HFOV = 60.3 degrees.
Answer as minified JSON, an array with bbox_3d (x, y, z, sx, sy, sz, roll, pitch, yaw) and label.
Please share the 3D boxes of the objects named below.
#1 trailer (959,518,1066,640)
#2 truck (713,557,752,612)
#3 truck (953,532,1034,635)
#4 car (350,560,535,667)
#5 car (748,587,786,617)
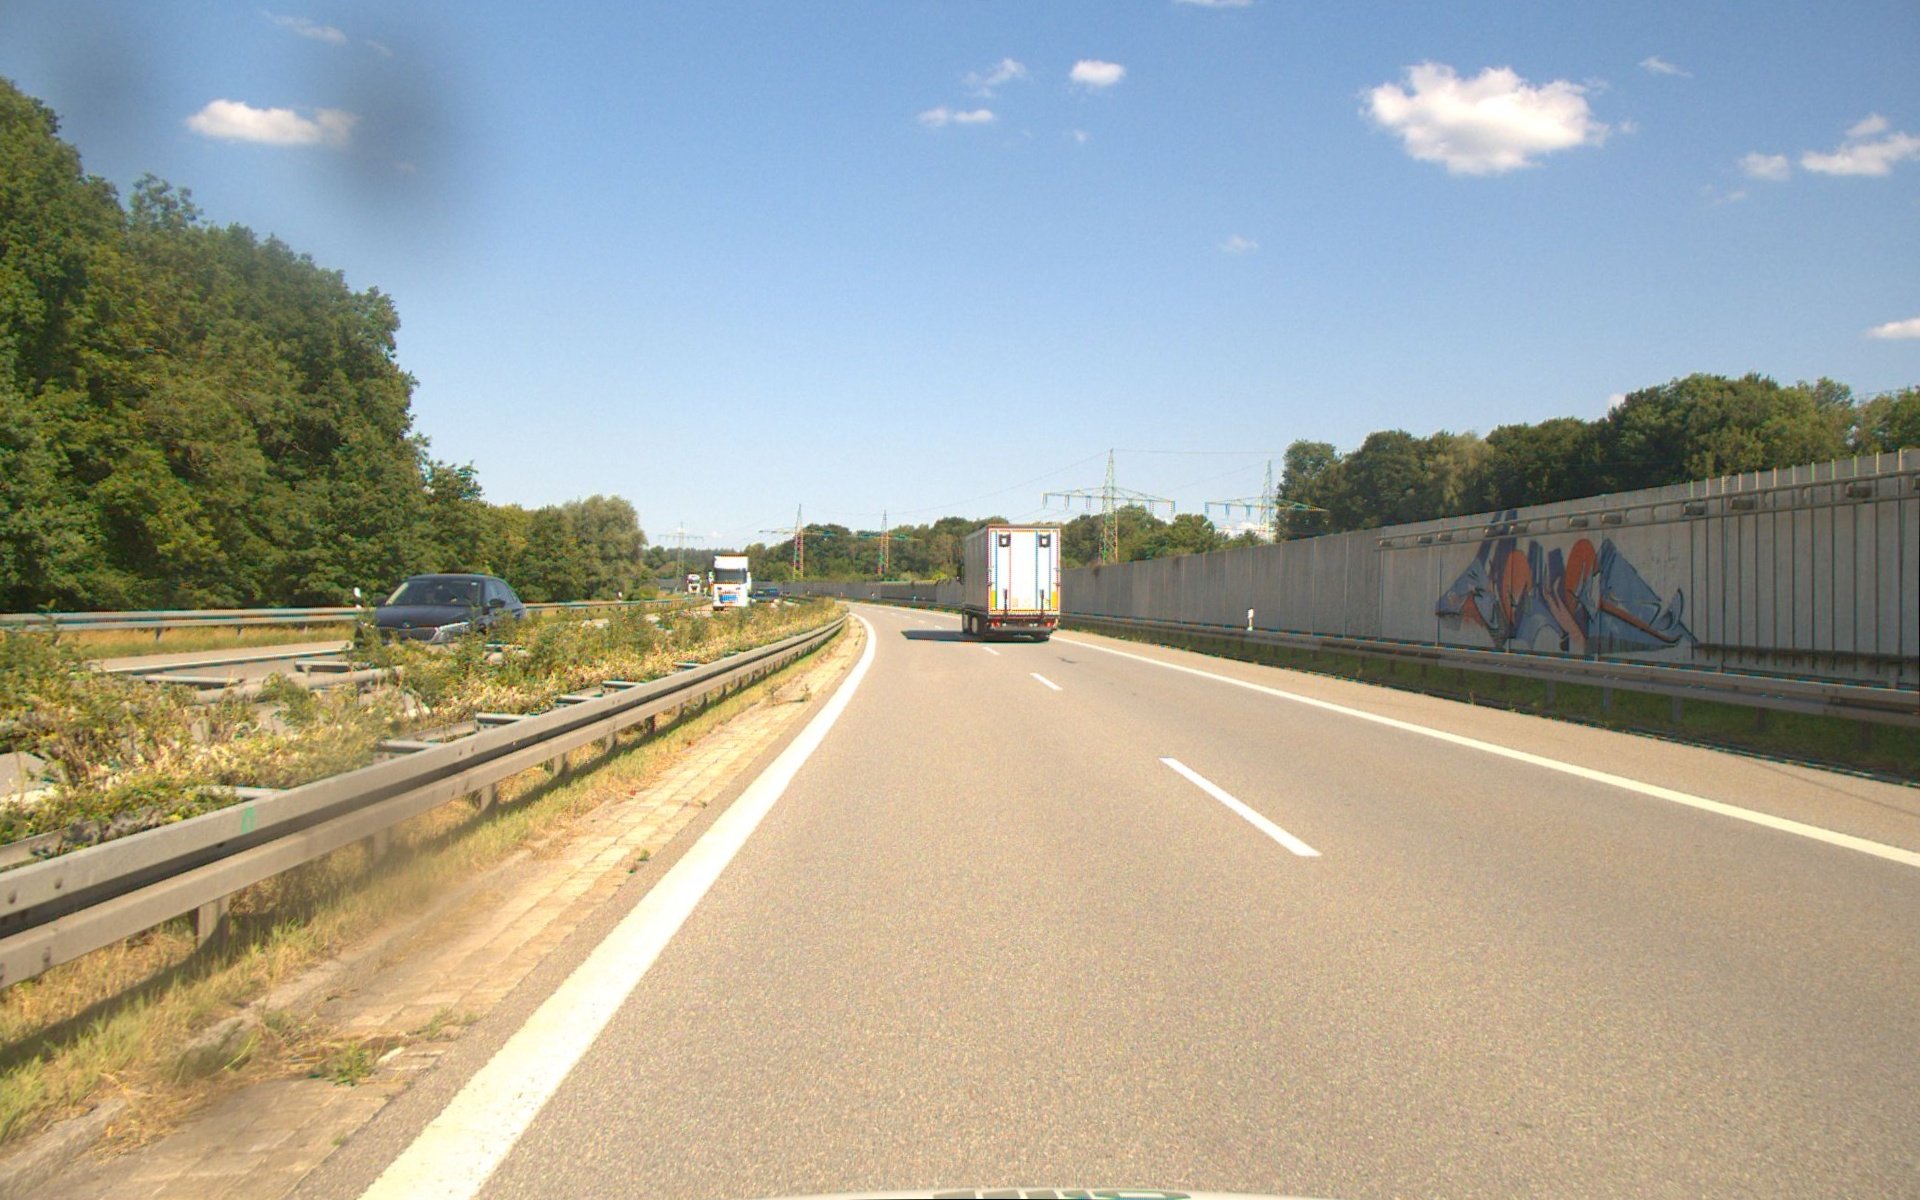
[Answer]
[{"bbox_3d":[1.798,-0.680,62.817,2.827,4.137,12.410,1,0,-4],"label":"trailer"},{"bbox_3d":[-16.794,-1.088,122.221,2.574,3.907,6.801,1,0,-6],"label":"truck"},{"bbox_3d":[1.330,-0.651,69.696,2.775,4.082,6.581,1,0,-4],"label":"truck"},{"bbox_3d":[-7.719,0.186,25.037,1.626,1.475,4.244,0,0,-3],"label":"car"},{"bbox_3d":[-10.935,0.117,93.730,1.805,1.634,3.998,1,0,-2],"label":"car"}]
